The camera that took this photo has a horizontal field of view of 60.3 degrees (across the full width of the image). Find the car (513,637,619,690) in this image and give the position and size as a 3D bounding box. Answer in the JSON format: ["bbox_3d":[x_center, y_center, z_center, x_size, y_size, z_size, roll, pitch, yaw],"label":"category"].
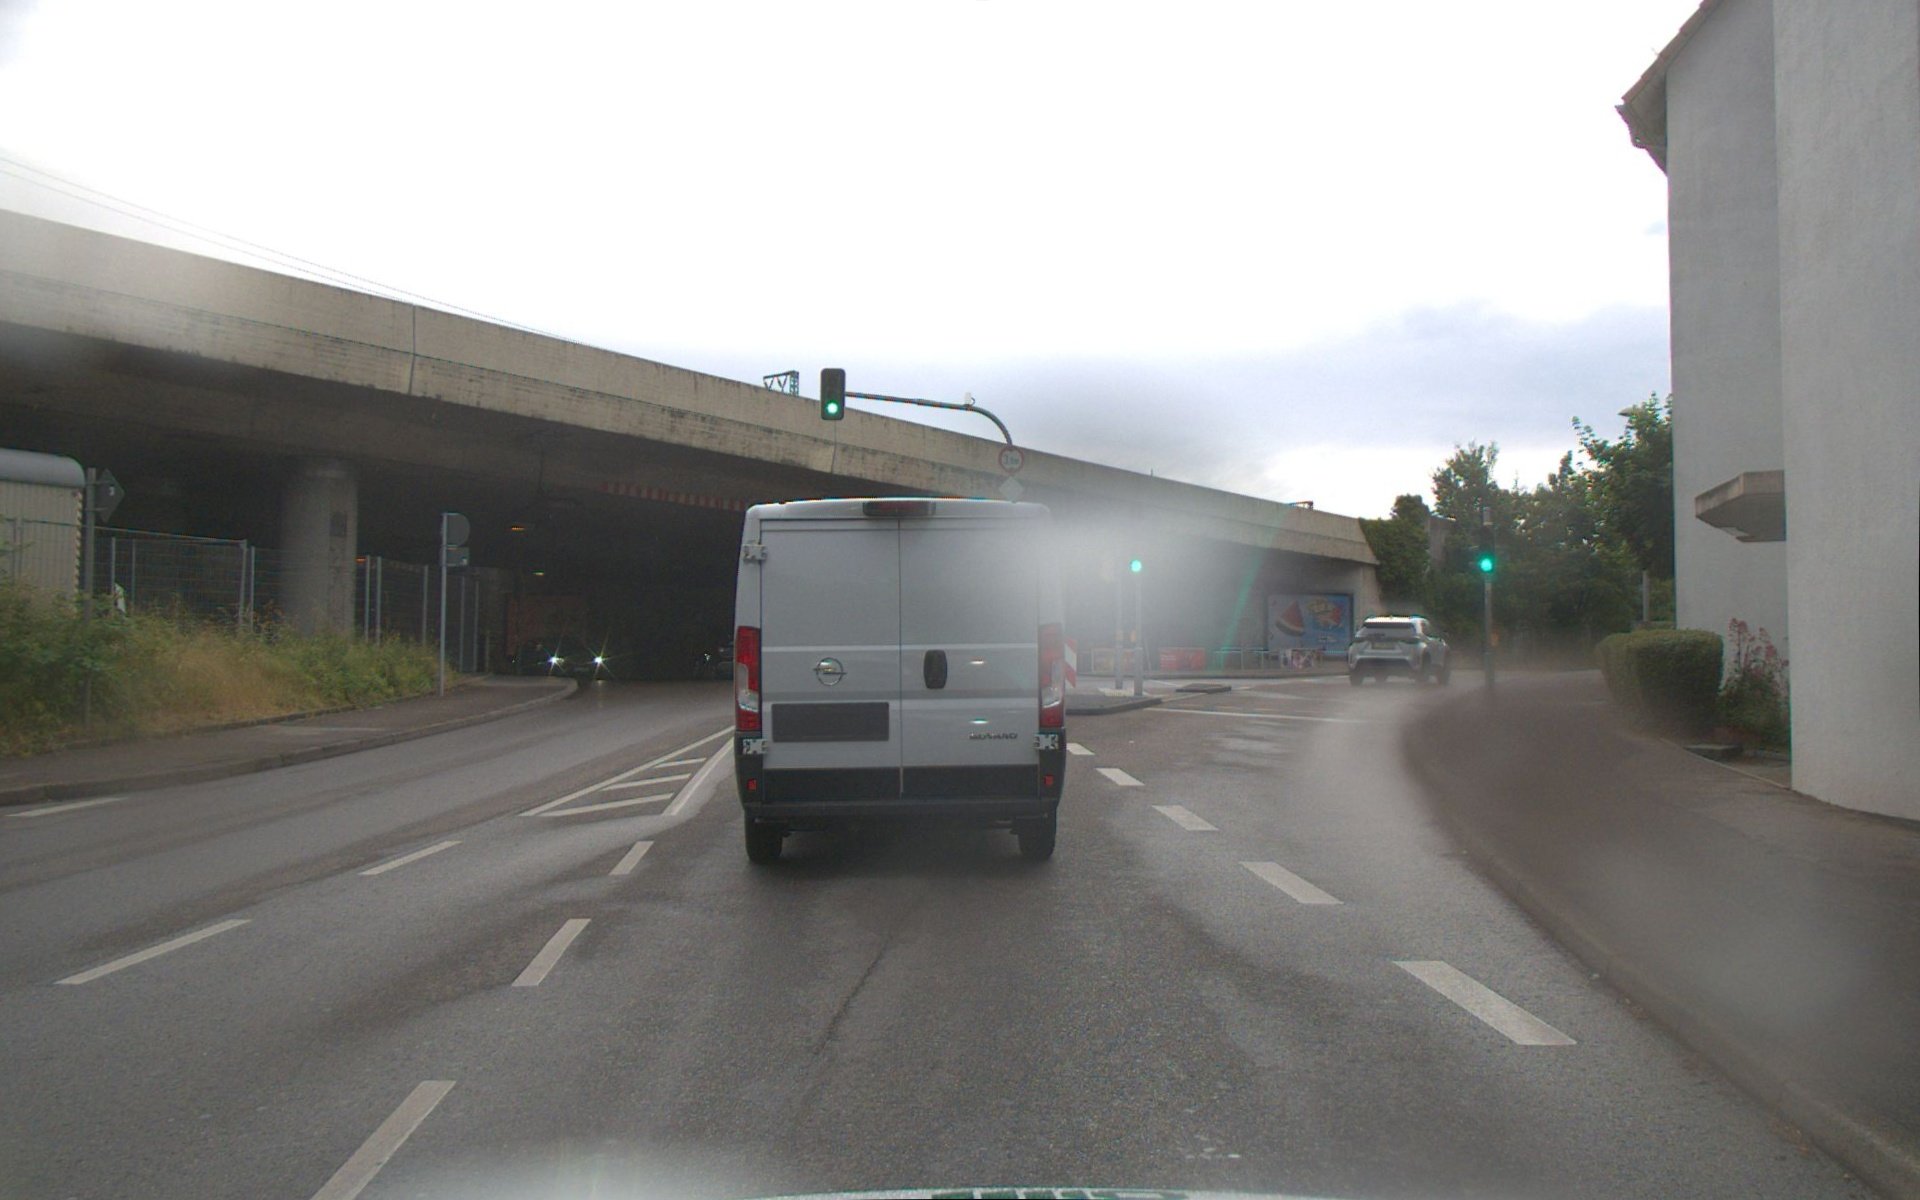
[{"bbox_3d":[-12.888,2.029,53.907,1.975,1.557,4.449,2,-1,-33],"label":"car"}]

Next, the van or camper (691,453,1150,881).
[{"bbox_3d":[-0.347,0.430,12.040,2.645,2.459,4.900,1,-1,-3],"label":"van or camper"}]

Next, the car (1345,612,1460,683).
[{"bbox_3d":[10.300,1.075,38.348,1.839,1.557,3.996,0,-1,26],"label":"car"}]

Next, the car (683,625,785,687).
[{"bbox_3d":[-6.941,1.677,50.496,1.969,1.780,3.966,1,-1,-26],"label":"car"}]
